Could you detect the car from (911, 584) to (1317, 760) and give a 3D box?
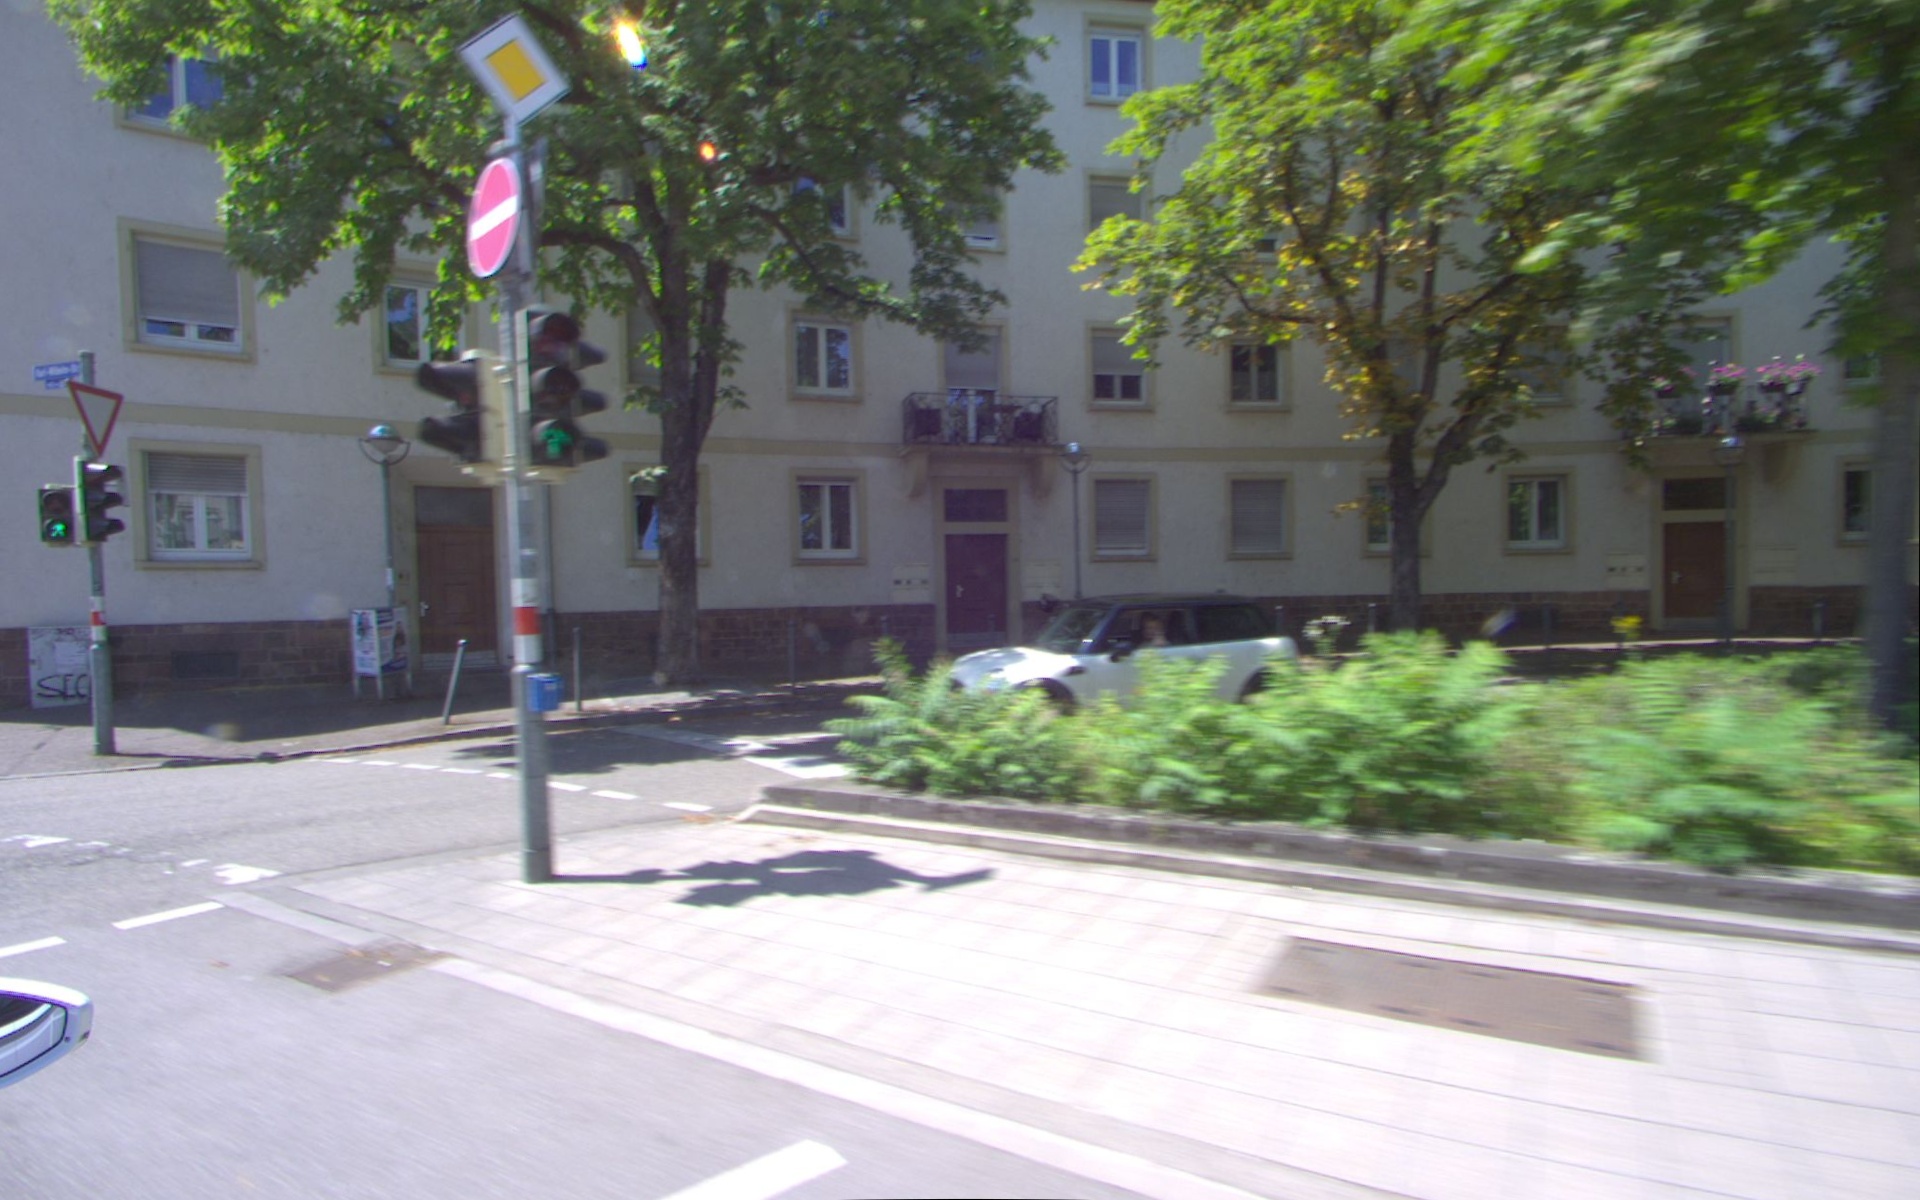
[{"bbox_3d":[1.449,0.607,9.840,3.561,1.465,1.692,-1,1,-15],"label":"car"}]

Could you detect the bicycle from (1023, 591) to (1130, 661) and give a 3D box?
[{"bbox_3d":[2.035,0.445,17.566,1.769,1.170,0.640,-1,1,-3],"label":"bicycle"}]

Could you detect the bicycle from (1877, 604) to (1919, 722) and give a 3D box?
[{"bbox_3d":[10.489,0.625,10.120,1.769,1.170,0.681,-1,1,3],"label":"bicycle"}]
